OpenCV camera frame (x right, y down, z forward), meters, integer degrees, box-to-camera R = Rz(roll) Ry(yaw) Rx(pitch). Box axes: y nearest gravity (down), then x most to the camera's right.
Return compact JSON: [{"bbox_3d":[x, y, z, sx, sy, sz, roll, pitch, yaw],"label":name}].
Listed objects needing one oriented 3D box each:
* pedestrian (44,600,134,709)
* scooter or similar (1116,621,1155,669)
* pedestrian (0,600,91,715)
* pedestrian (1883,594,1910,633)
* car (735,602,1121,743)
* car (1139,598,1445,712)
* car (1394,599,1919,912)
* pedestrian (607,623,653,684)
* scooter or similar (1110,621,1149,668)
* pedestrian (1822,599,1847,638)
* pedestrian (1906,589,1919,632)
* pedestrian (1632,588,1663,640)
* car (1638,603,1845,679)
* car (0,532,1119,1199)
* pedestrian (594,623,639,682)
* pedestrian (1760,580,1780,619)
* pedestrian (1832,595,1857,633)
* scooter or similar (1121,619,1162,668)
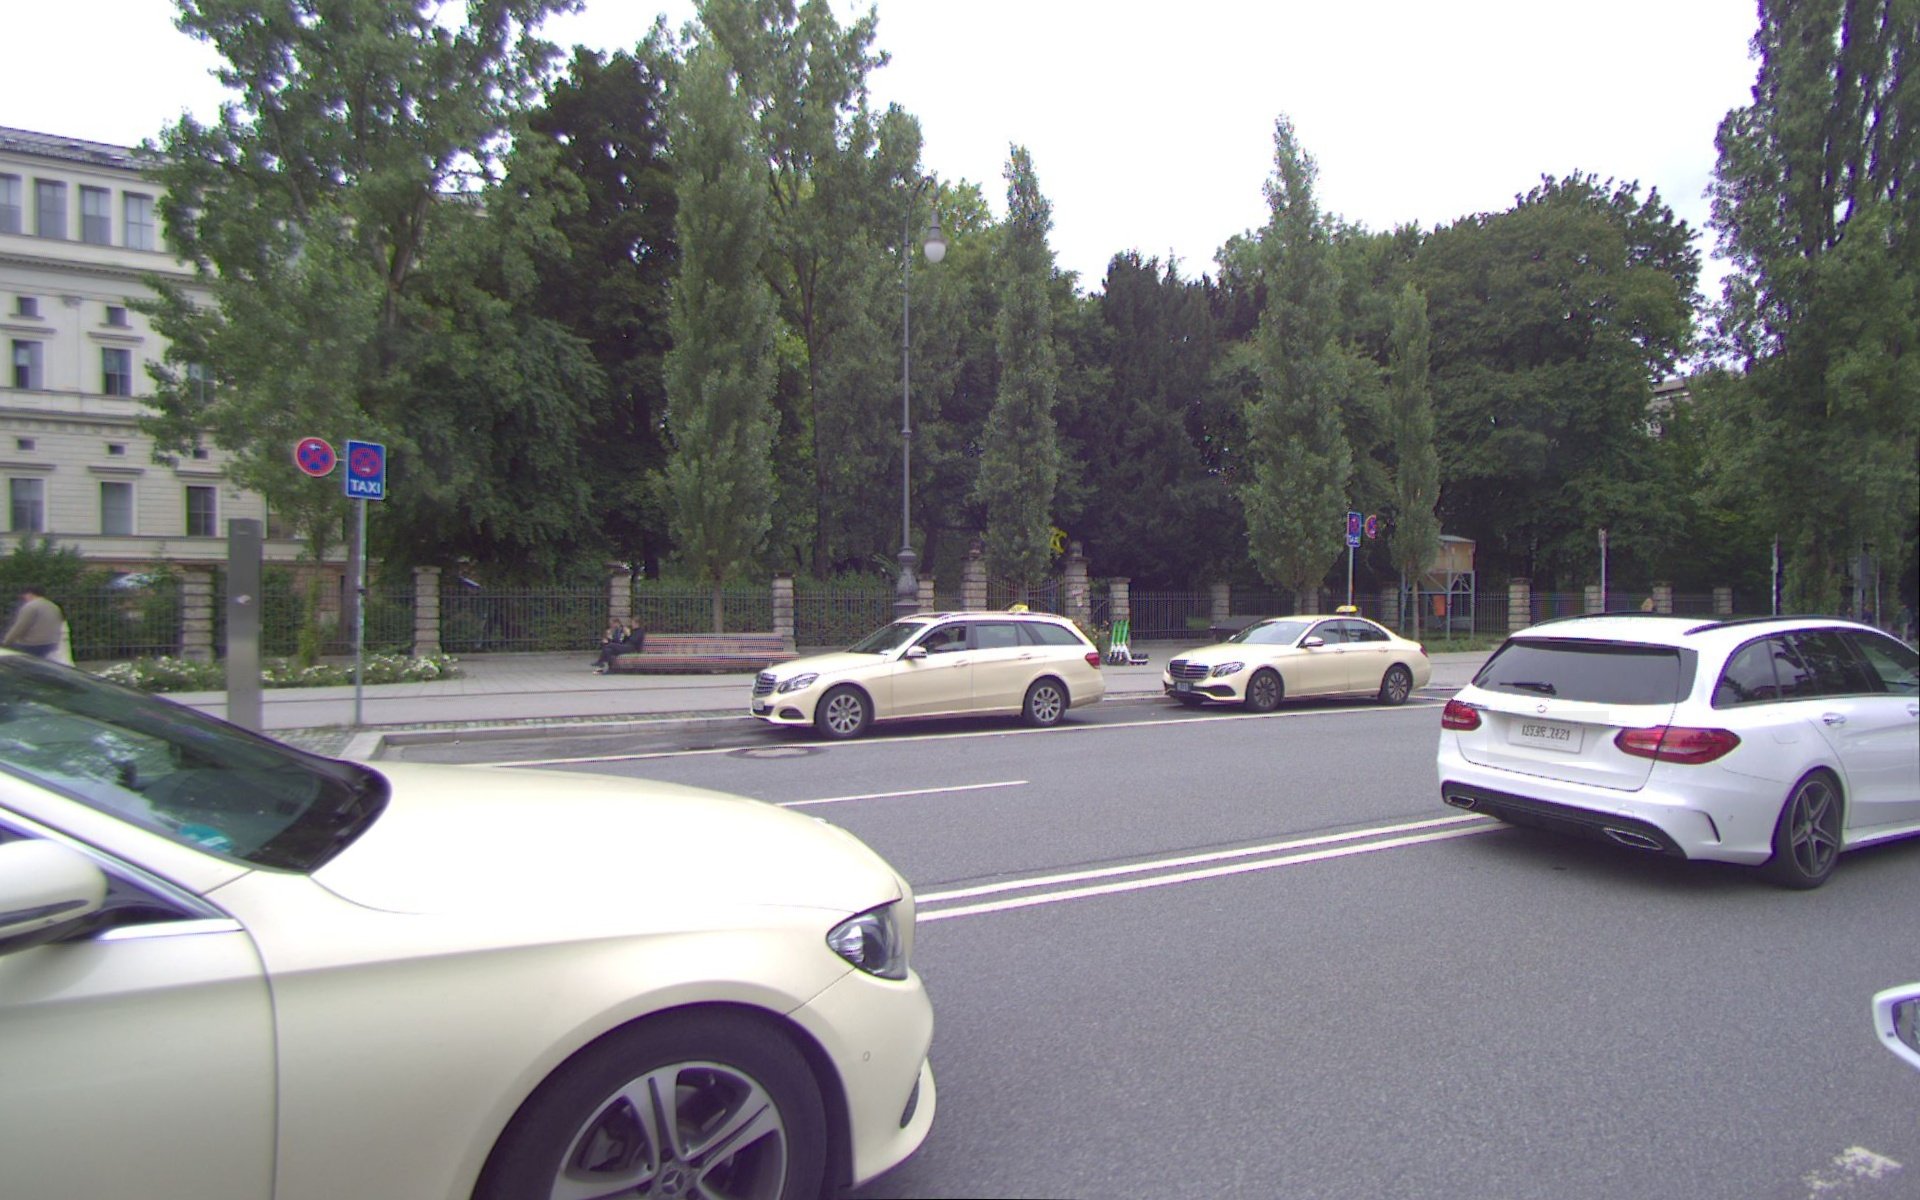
[{"bbox_3d":[-14.131,0.856,16.333,0.956,1.700,0.840,0,0,-31],"label":"pedestrian"},{"bbox_3d":[4.622,1.178,26.448,1.108,1.217,0.242,0,0,-28],"label":"scooter or similar"},{"bbox_3d":[-14.073,0.856,15.431,0.956,1.700,0.840,0,0,-31],"label":"pedestrian"},{"bbox_3d":[45.627,0.636,48.936,0.747,1.879,0.744,0,0,-27],"label":"pedestrian"},{"bbox_3d":[-0.364,0.871,13.277,4.797,1.579,1.812,0,-3,-28],"label":"car"},{"bbox_3d":[5.500,0.842,16.511,4.902,1.646,1.930,1,-2,-28],"label":"car"},{"bbox_3d":[5.189,0.743,6.582,4.522,1.474,1.819,0,0,-26],"label":"car"},{"bbox_3d":[-7.649,1.227,23.328,0.568,1.355,0.837,-1,0,36],"label":"pedestrian"},{"bbox_3d":[4.508,1.178,26.685,1.108,1.217,0.242,0,0,-28],"label":"scooter or similar"},{"bbox_3d":[38.187,0.807,43.877,0.695,1.682,0.616,0,0,-26],"label":"pedestrian"},{"bbox_3d":[46.122,0.489,48.382,0.630,2.040,0.663,0,0,-28],"label":"pedestrian"},{"bbox_3d":[23.279,0.480,34.031,0.777,1.743,0.580,0,0,-29],"label":"pedestrian"},{"bbox_3d":[17.987,0.890,23.100,4.727,1.517,1.924,-1,-1,-27],"label":"car"},{"bbox_3d":[-2.104,0.682,2.057,4.633,1.596,1.906,0,1,-30],"label":"car"},{"bbox_3d":[-8.173,1.228,23.910,0.568,1.355,0.837,-1,0,36],"label":"pedestrian"},{"bbox_3d":[42.873,-0.006,53.167,0.553,2.040,0.694,0,0,-27],"label":"pedestrian"},{"bbox_3d":[41.018,0.664,46.588,0.723,1.745,0.664,0,0,-26],"label":"pedestrian"},{"bbox_3d":[4.740,1.124,26.205,1.126,1.258,0.257,0,0,-27],"label":"scooter or similar"}]
